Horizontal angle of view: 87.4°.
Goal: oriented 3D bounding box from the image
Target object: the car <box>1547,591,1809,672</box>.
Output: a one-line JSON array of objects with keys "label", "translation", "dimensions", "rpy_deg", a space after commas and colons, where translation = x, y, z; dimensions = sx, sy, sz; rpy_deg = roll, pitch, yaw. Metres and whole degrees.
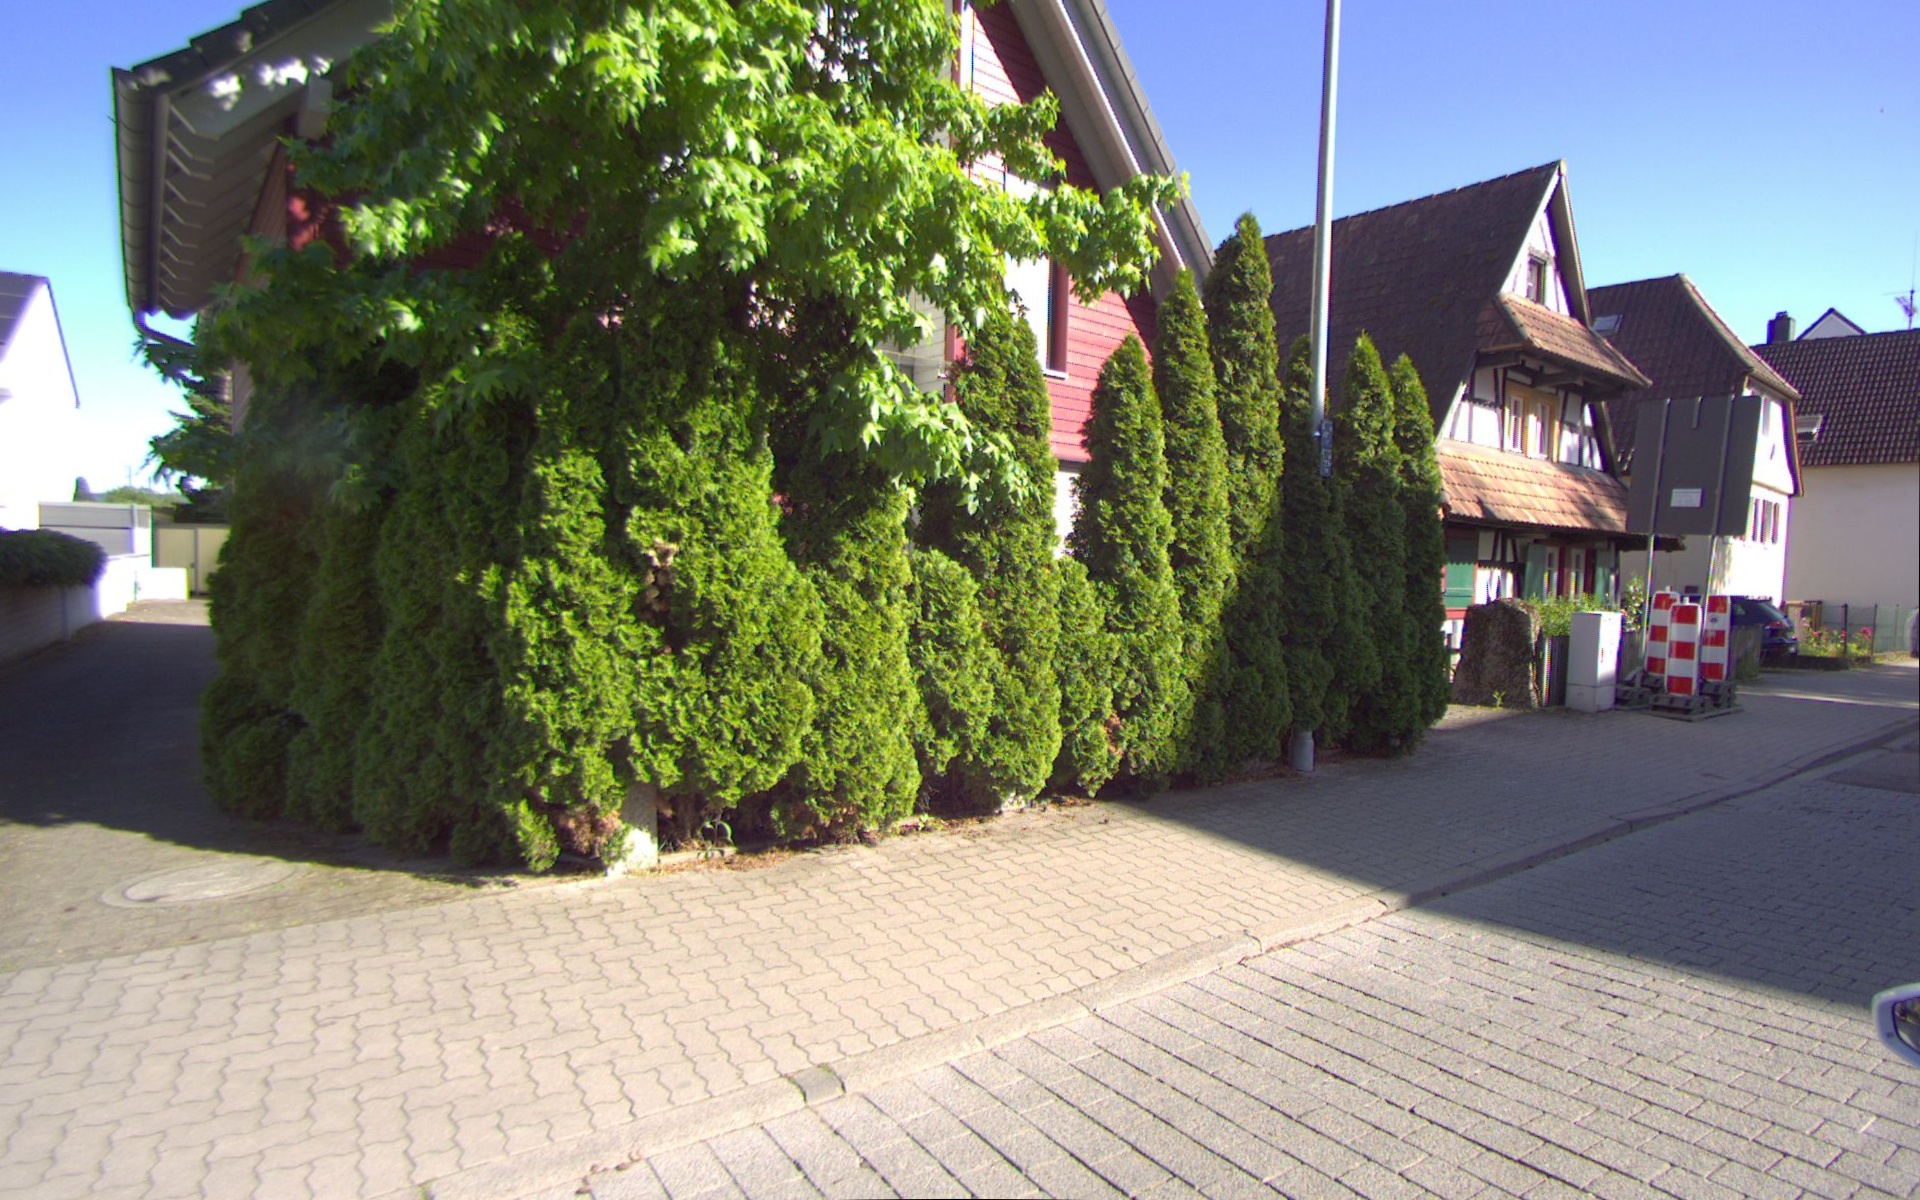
[{"label": "car", "translation": [14.692, 0.562, 20.731], "dimensions": [1.834, 1.481, 4.121], "rpy_deg": [-1, 1, -41]}]
